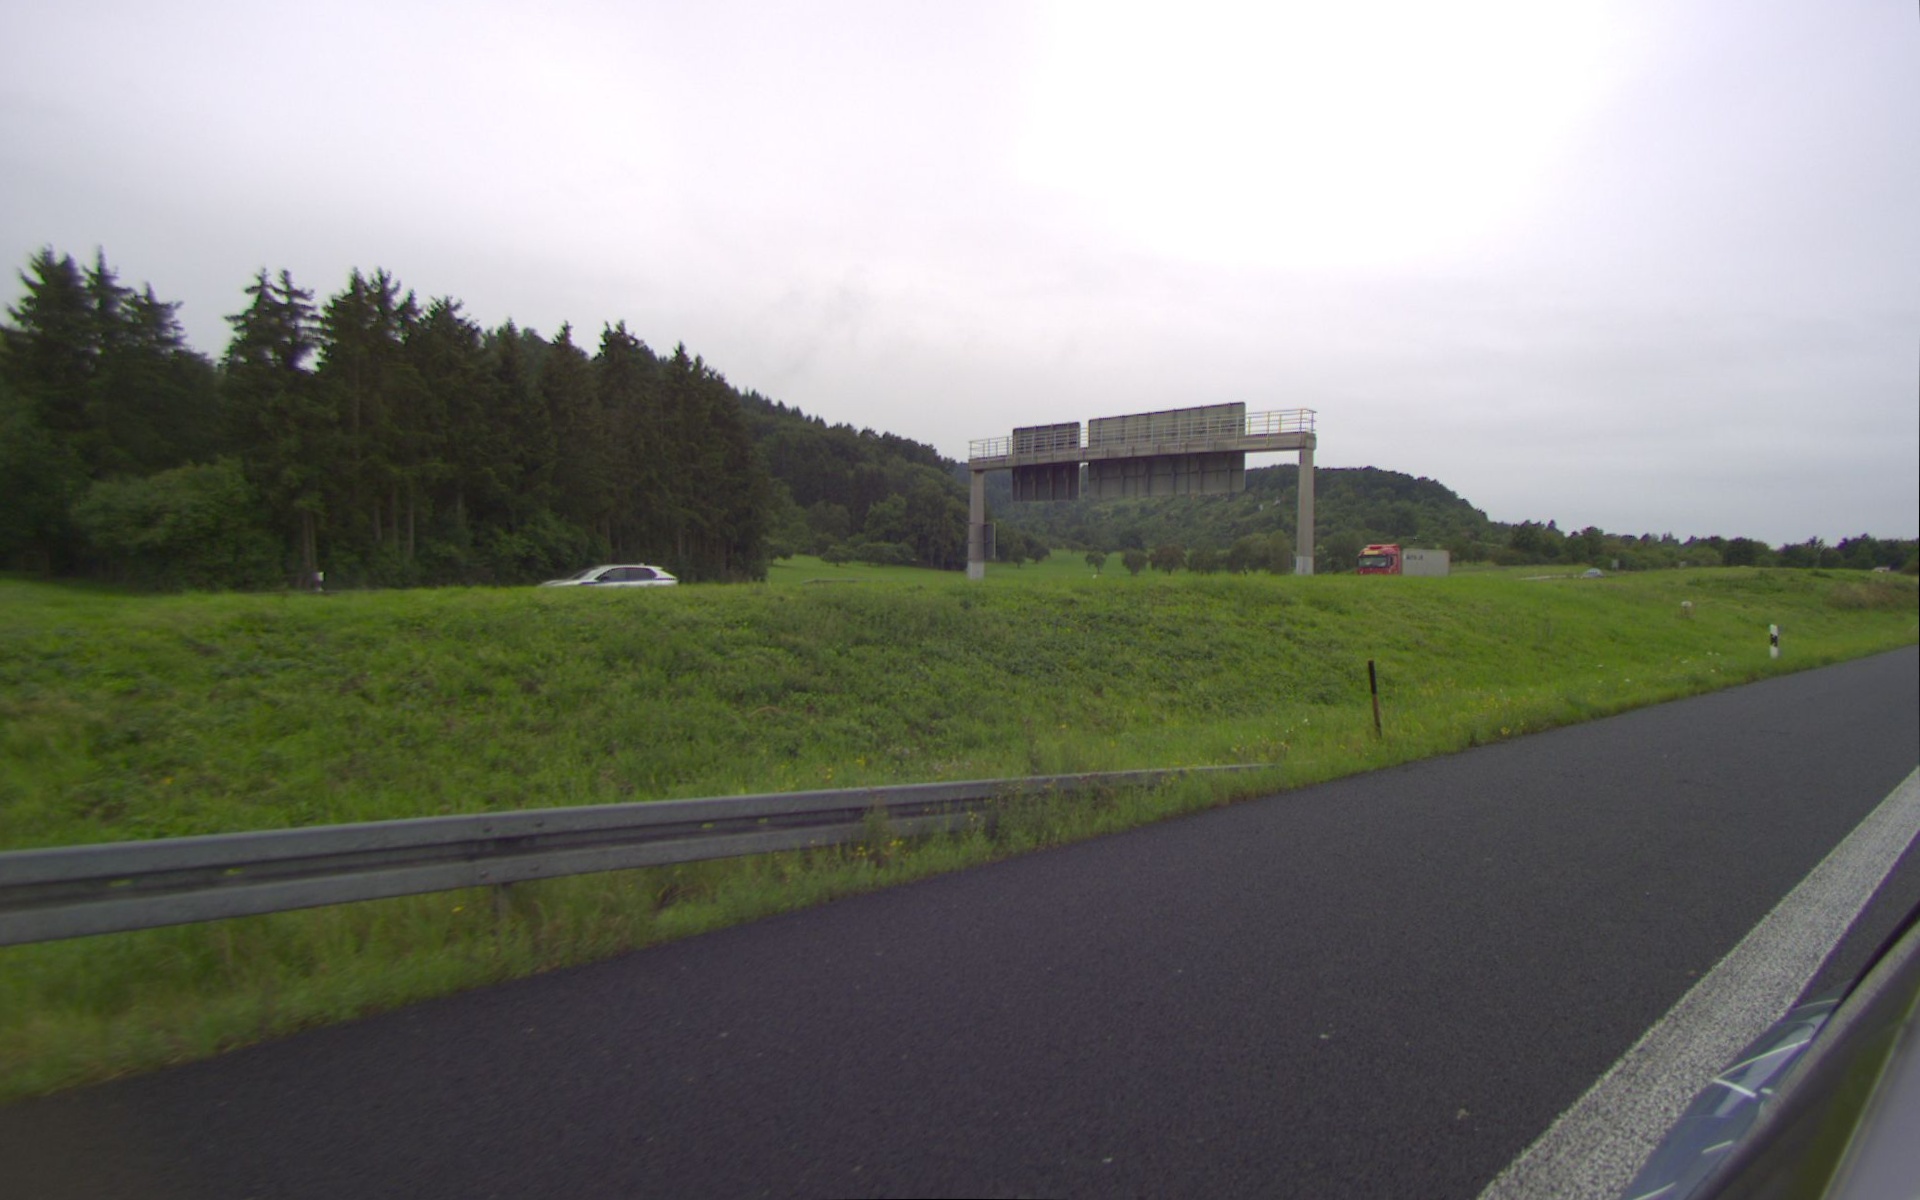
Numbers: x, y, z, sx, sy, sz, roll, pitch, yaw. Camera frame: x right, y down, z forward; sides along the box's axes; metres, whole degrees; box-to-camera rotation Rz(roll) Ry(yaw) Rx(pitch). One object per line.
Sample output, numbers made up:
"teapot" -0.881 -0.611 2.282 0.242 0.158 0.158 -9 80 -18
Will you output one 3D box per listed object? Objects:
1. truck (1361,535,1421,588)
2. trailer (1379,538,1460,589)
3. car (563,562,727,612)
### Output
"truck" 34.562 -3.021 81.053 2.508 4.037 5.833 -1 0 44
"trailer" 39.160 -2.988 85.880 2.490 4.034 12.212 -1 0 43
"car" -10.376 -0.436 33.608 4.947 1.522 1.821 0 1 -43
